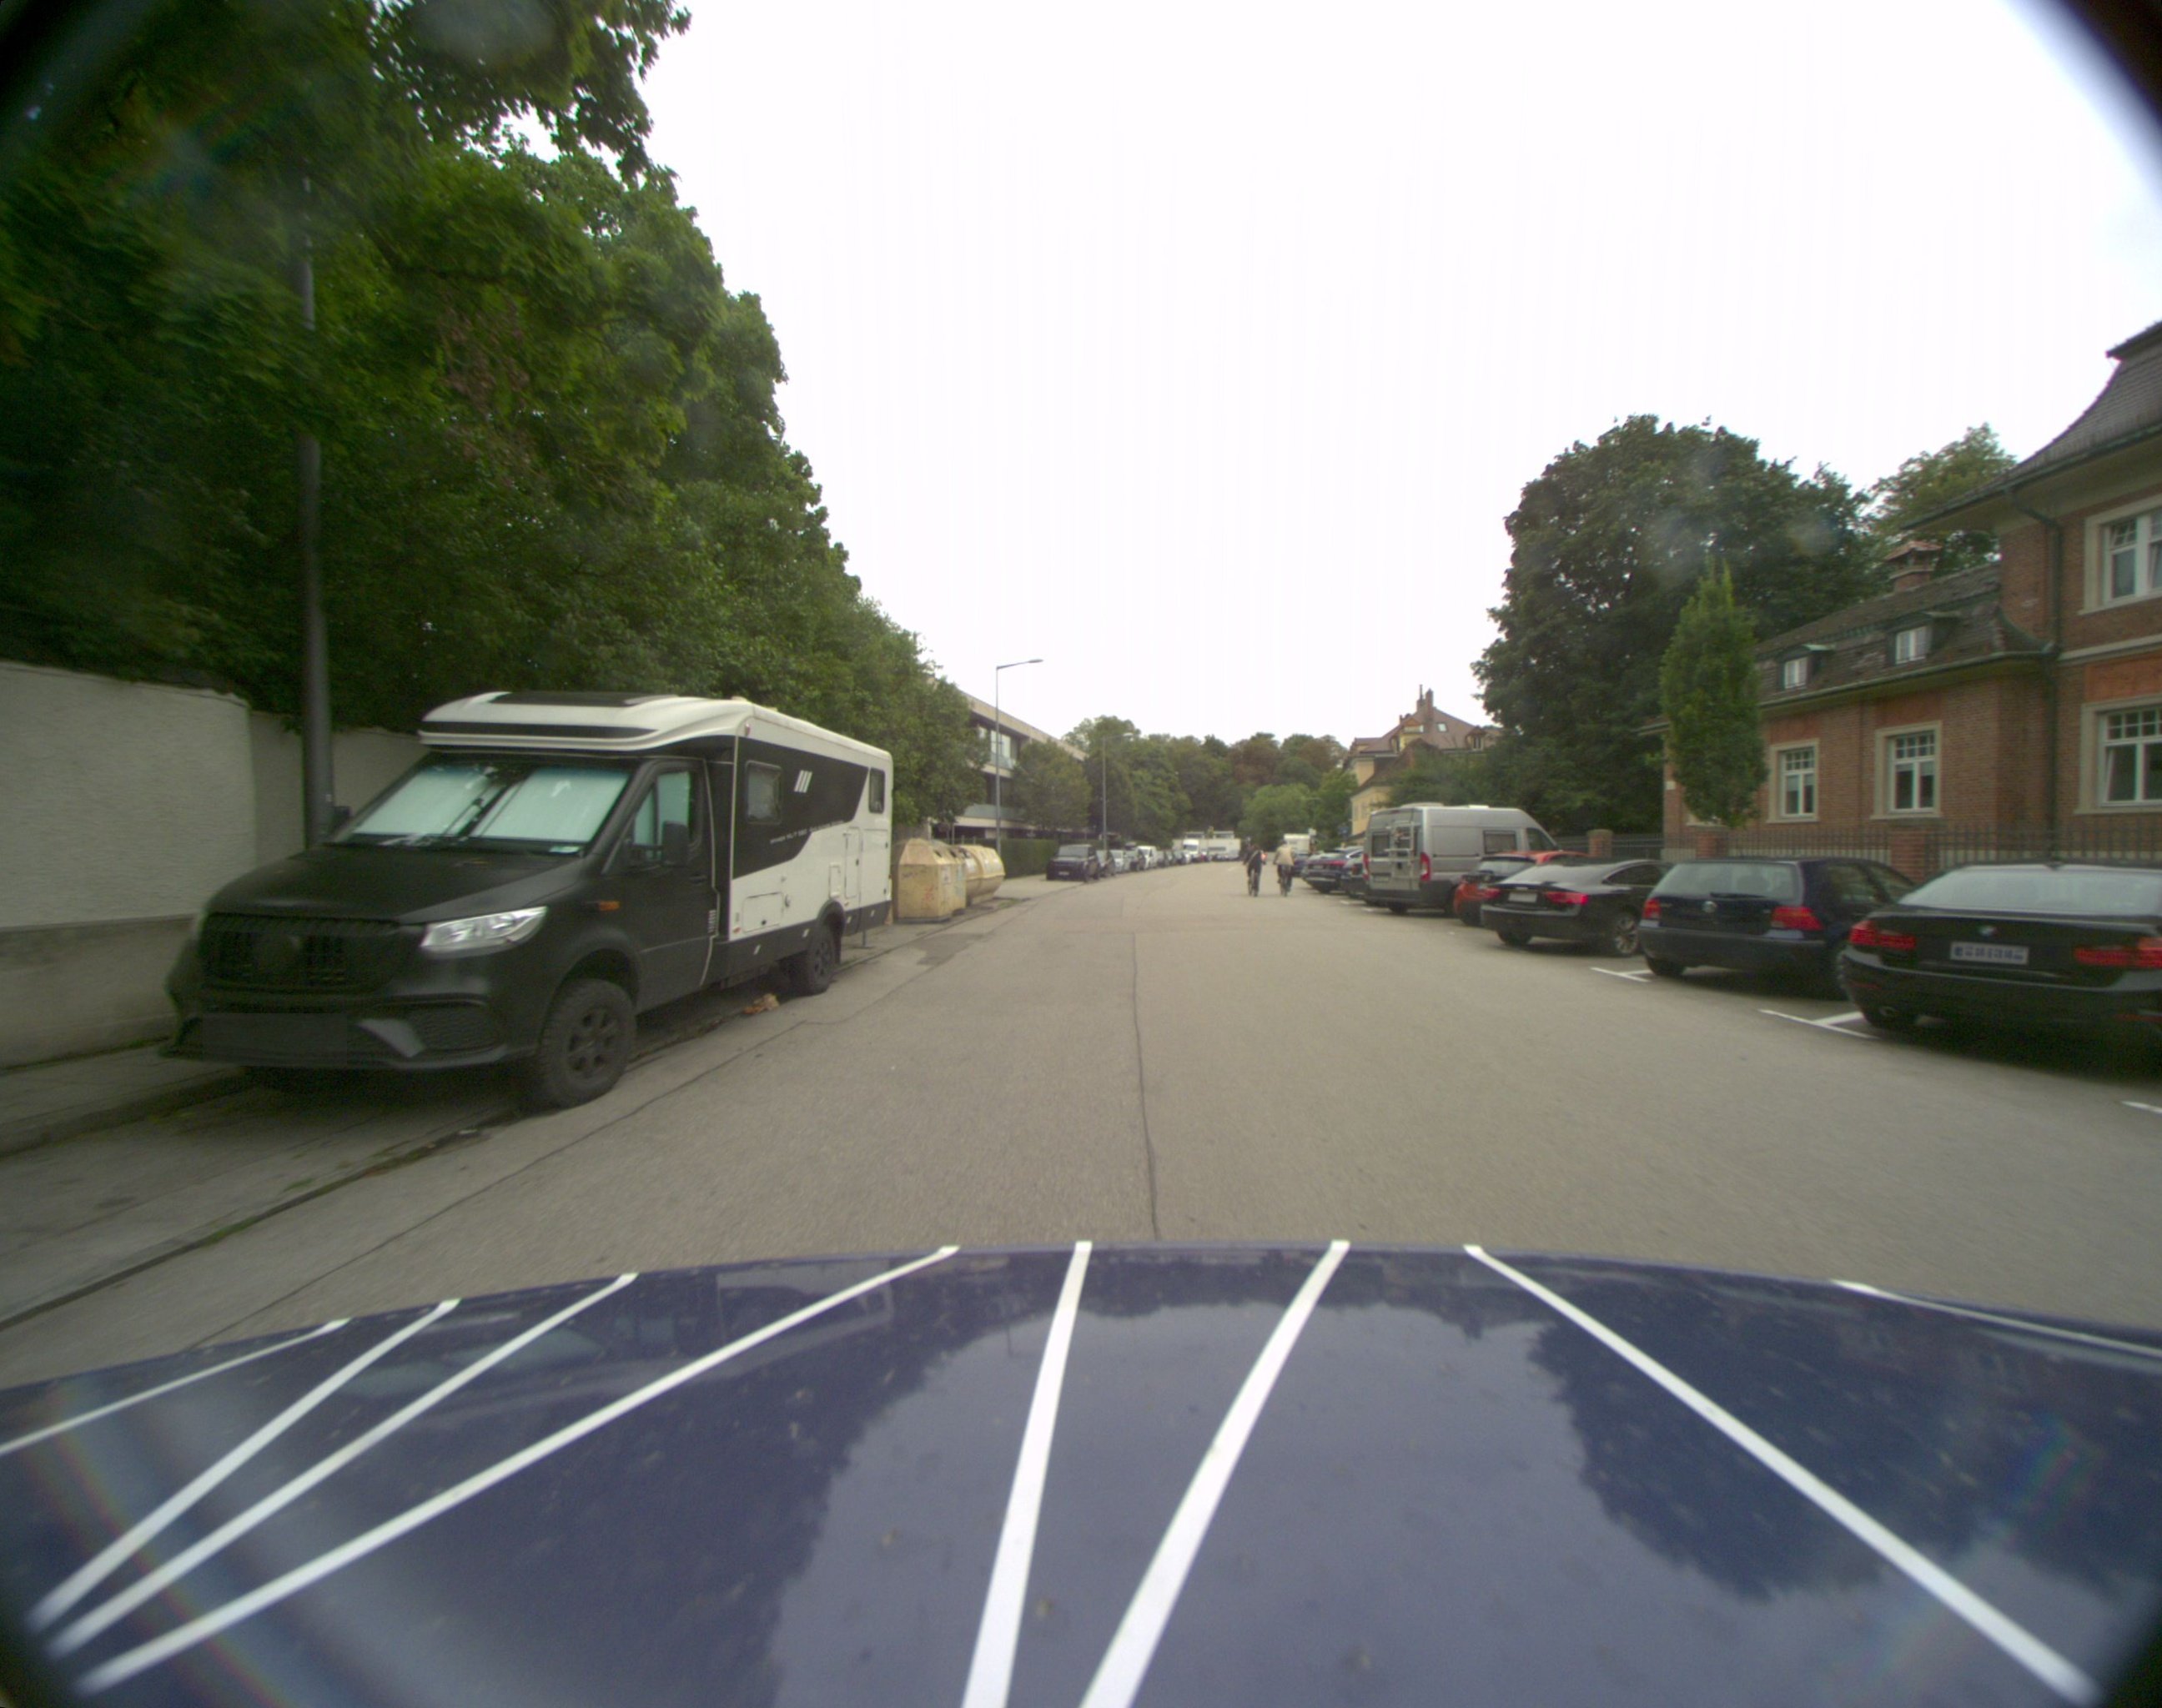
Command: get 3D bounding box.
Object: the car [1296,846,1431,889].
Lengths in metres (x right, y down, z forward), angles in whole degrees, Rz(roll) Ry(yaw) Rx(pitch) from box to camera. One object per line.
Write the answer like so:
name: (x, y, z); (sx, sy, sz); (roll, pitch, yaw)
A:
car: (10.473, 0.474, 28.451); (4.341, 1.521, 1.933); (0, 2, 1)

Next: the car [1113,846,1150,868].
car: (3.627, 0.164, 53.770); (1.750, 1.472, 4.602); (-1, 0, 15)

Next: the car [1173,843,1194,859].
car: (10.938, -0.306, 80.854); (1.873, 1.560, 5.006); (2, 0, 12)

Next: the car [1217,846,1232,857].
car: (20.551, -0.298, 108.825); (1.895, 1.438, 4.272); (-3, -1, 8)

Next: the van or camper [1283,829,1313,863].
van or camper: (20.276, -0.749, 70.955); (2.458, 2.924, 7.220); (2, 1, 16)

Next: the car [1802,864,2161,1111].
car: (8.154, 0.830, 6.086); (4.533, 1.410, 1.923); (1, 1, -26)

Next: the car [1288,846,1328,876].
car: (12.733, 0.346, 42.851); (1.847, 1.526, 4.566); (2, 1, 13)

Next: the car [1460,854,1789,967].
car: (8.267, 0.747, 11.577); (4.532, 1.442, 1.973); (0, 1, -23)

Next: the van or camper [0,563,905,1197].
van or camper: (-3.838, 0.087, 7.144); (2.278, 2.889, 7.277); (0, 1, 3)

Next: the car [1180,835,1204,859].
car: (12.819, -0.770, 87.294); (2.082, 2.671, 6.094); (2, 1, 13)

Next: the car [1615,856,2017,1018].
car: (8.485, 0.783, 8.736); (4.533, 1.442, 1.816); (1, 1, -26)

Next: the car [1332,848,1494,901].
car: (10.154, 0.598, 23.291); (4.426, 1.478, 1.830); (1, 2, -18)

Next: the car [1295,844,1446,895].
car: (9.804, 0.497, 25.765); (4.531, 1.585, 1.961); (1, 1, -19)

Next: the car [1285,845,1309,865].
car: (17.900, 0.028, 63.222); (1.780, 1.526, 4.232); (2, 1, 15)

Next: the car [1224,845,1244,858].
car: (20.483, -0.324, 101.509); (1.995, 1.683, 4.341); (-1, -1, 20)

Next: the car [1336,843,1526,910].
car: (9.470, 0.566, 20.599); (4.531, 1.616, 1.963); (0, 2, -19)

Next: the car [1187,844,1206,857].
car: (14.248, -0.373, 93.372); (1.873, 1.498, 4.843); (2, 1, 13)

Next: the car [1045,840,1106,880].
car: (-0.170, 0.236, 38.511); (1.991, 1.861, 5.081); (-1, 1, 12)

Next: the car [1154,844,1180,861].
car: (7.891, -0.155, 69.591); (1.729, 1.520, 4.209); (2, 1, 14)

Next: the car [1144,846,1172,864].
car: (6.584, 0.022, 64.409); (1.750, 1.455, 4.247); (0, 1, 14)

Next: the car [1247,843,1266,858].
car: (17.933, -0.415, 77.636); (1.775, 1.466, 4.137); (0, 1, 13)

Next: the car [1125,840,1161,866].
car: (4.863, -0.077, 58.775); (1.825, 1.850, 4.903); (-1, 0, 16)

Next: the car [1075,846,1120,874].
car: (1.034, 0.310, 43.754); (1.750, 1.530, 4.573); (0, 1, 12)

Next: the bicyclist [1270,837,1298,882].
bicyclist: (6.415, 0.172, 24.016); (0.698, 1.389, 0.930); (0, 1, 6)

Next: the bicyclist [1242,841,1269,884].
bicyclist: (5.466, 0.256, 23.807); (0.698, 1.344, 0.930); (0, 1, 6)

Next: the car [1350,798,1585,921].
car: (8.918, 0.125, 17.613); (4.641, 2.548, 2.230); (0, 1, -19)

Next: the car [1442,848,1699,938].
car: (9.607, 0.660, 14.956); (4.531, 1.508, 1.933); (-1, 1, -21)

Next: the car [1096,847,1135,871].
car: (2.274, 0.285, 49.351); (1.750, 1.472, 3.892); (0, 1, 14)

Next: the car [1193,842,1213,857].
car: (15.778, -0.578, 98.386); (1.937, 1.894, 5.078); (2, 1, 16)

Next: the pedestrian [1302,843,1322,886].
pedestrian: (9.010, 0.405, 29.610); (0.591, 1.638, 0.714); (1, 2, 6)

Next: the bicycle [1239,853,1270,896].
bicycle: (5.490, 0.622, 24.141); (0.708, 1.298, 2.119); (0, 1, 6)

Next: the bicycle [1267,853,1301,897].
bicycle: (6.447, 0.645, 24.248); (0.708, 1.298, 2.119); (0, 1, 6)
